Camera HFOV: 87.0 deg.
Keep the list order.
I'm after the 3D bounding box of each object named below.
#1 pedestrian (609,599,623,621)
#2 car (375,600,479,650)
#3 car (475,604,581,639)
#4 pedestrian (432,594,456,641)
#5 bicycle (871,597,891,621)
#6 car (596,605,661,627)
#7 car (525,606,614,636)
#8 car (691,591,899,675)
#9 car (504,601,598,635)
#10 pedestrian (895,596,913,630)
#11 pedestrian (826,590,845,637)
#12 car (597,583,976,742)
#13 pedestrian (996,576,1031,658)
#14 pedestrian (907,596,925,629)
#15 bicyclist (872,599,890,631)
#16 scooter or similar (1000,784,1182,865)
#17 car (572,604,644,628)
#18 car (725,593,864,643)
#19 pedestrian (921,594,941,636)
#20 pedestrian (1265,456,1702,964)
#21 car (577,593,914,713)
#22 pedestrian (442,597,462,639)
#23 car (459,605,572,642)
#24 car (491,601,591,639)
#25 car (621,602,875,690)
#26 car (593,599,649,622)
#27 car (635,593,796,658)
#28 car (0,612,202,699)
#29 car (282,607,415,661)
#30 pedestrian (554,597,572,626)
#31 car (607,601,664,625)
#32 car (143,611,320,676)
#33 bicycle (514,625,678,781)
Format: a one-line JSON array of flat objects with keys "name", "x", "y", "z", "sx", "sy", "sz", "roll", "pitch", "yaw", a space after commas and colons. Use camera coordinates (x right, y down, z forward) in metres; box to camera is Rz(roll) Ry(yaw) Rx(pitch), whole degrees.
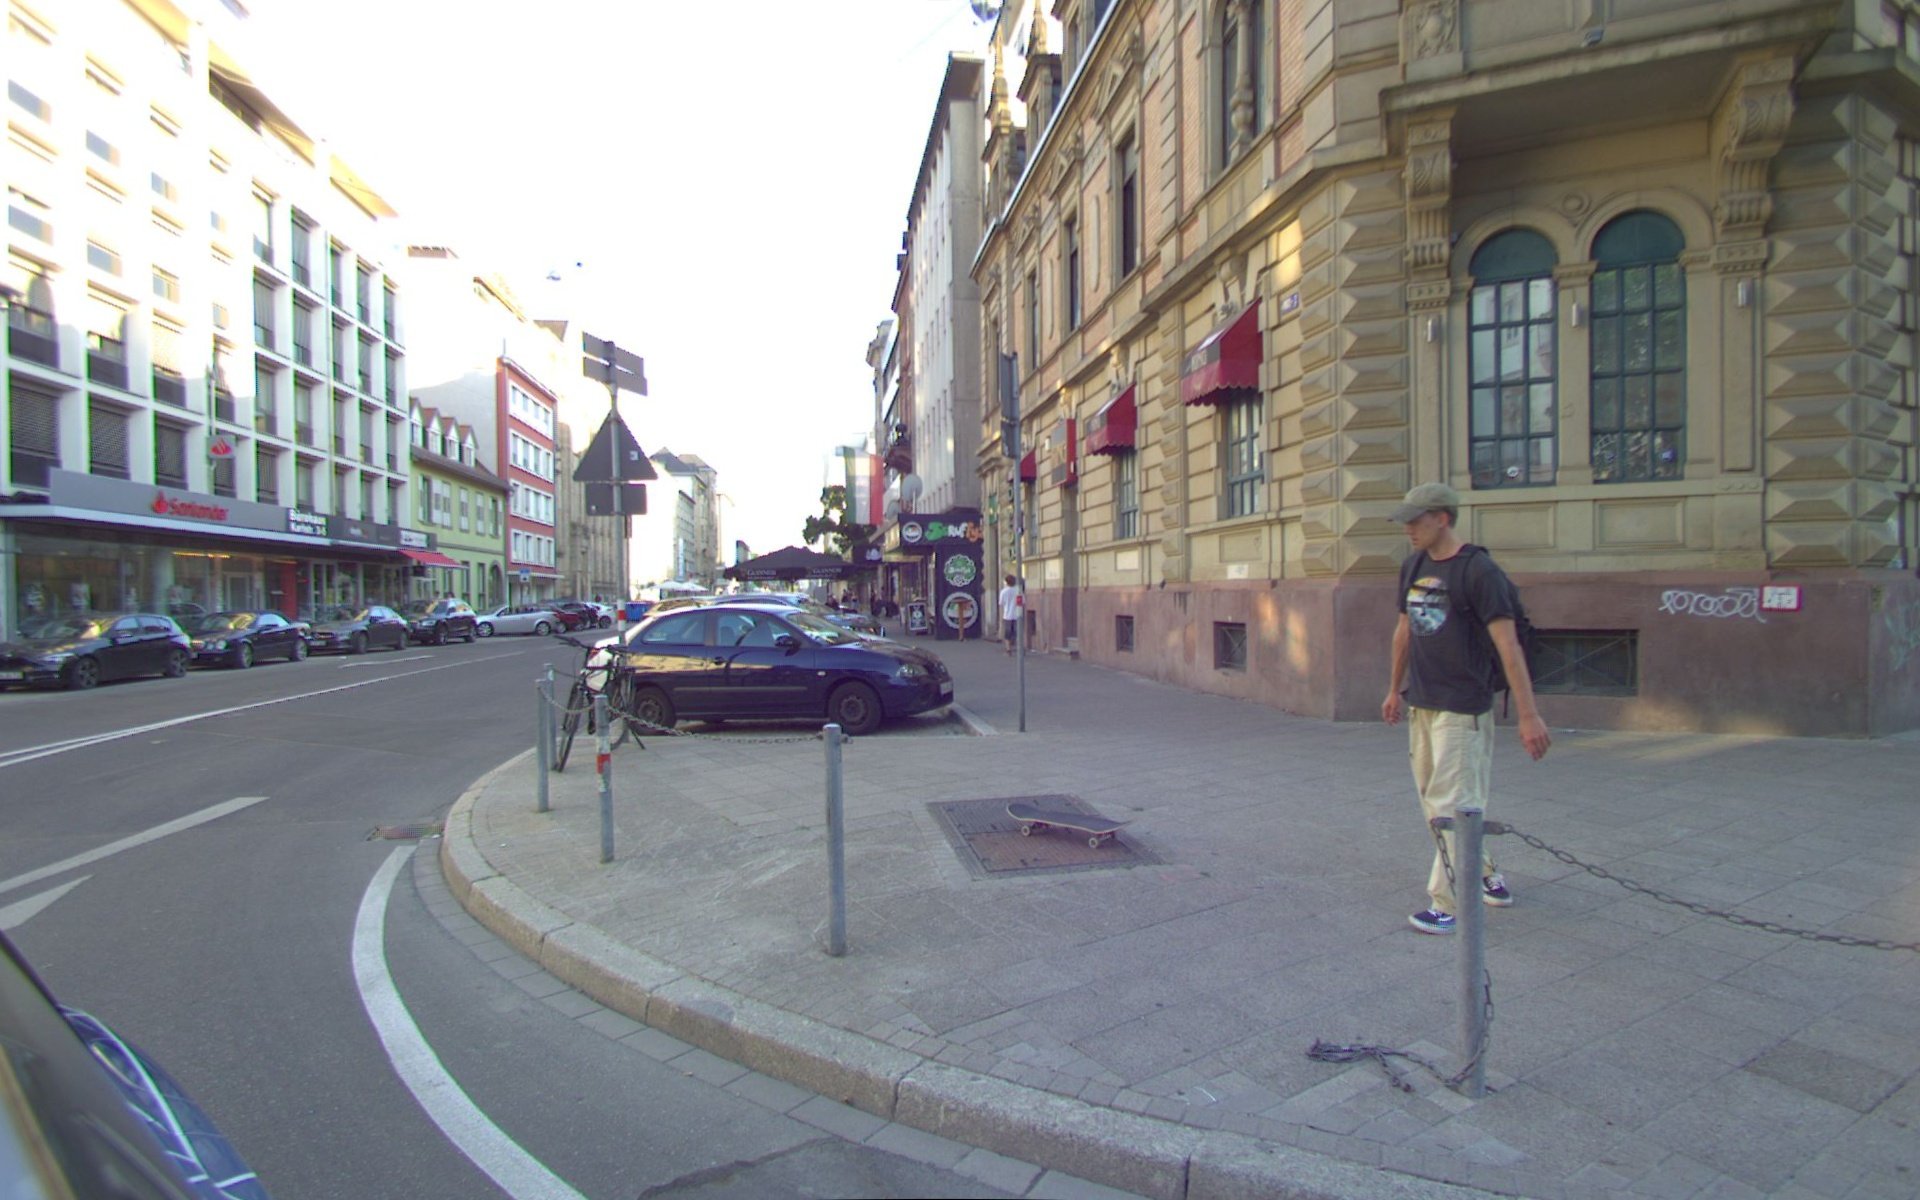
[{"name": "pedestrian", "x": -28.157, "y": 0.831, "z": 82.910, "sx": 0.838, "sy": 1.813, "sz": 1.013, "roll": -1, "pitch": 0, "yaw": -3}, {"name": "car", "x": -19.034, "y": 0.845, "z": 36.363, "sx": 1.805, "sy": 1.671, "sz": 4.369, "roll": -1, "pitch": 0, "yaw": -6}, {"name": "car", "x": -19.983, "y": 0.973, "z": 46.854, "sx": 4.163, "sy": 1.450, "sz": 1.756, "roll": -1, "pitch": 0, "yaw": -42}, {"name": "pedestrian", "x": -23.312, "y": 0.789, "z": 45.723, "sx": 0.751, "sy": 2.083, "sz": 0.720, "roll": -1, "pitch": 0, "yaw": -9}, {"name": "bicycle", "x": -3.913, "y": 0.423, "z": 50.006, "sx": 0.755, "sy": 1.123, "sz": 2.182, "roll": -2, "pitch": 1, "yaw": -9}, {"name": "car", "x": -24.126, "y": 1.140, "z": 73.725, "sx": 4.157, "sy": 1.484, "sz": 1.759, "roll": -1, "pitch": 0, "yaw": -33}, {"name": "car", "x": -21.148, "y": 1.102, "z": 54.885, "sx": 4.160, "sy": 1.484, "sz": 1.758, "roll": -1, "pitch": 0, "yaw": -38}, {"name": "car", "x": -3.472, "y": 0.675, "z": 21.444, "sx": 4.017, "sy": 1.669, "sz": 1.782, "roll": -1, "pitch": -1, "yaw": 18}, {"name": "car", "x": -21.015, "y": 0.917, "z": 52.026, "sx": 4.160, "sy": 1.629, "sz": 1.758, "roll": -1, "pitch": 0, "yaw": -38}, {"name": "pedestrian", "x": -2.042, "y": 0.477, "z": 37.077, "sx": 0.567, "sy": 1.254, "sz": 0.676, "roll": -1, "pitch": 0, "yaw": -8}, {"name": "pedestrian", "x": -3.873, "y": 0.407, "z": 31.443, "sx": 0.567, "sy": 1.427, "sz": 0.676, "roll": -1, "pitch": 0, "yaw": -8}, {"name": "car", "x": -1.914, "y": 0.690, "z": 11.506, "sx": 3.828, "sy": 1.472, "sz": 1.732, "roll": -4, "pitch": -1, "yaw": 16}, {"name": "pedestrian", "x": 1.077, "y": 0.335, "z": 20.425, "sx": 0.569, "sy": 1.621, "sz": 0.522, "roll": -2, "pitch": 0, "yaw": -7}, {"name": "pedestrian", "x": -1.679, "y": 0.470, "z": 38.628, "sx": 0.567, "sy": 1.254, "sz": 0.676, "roll": -1, "pitch": 0, "yaw": -8}, {"name": "bicyclist", "x": -3.901, "y": 0.732, "z": 49.978, "sx": 0.756, "sy": 1.571, "sz": 0.814, "roll": -2, "pitch": 0, "yaw": -9}, {"name": "scooter or similar", "x": 0.669, "y": 1.154, "z": 5.284, "sx": 0.412, "sy": 0.208, "sz": 0.883, "roll": -3, "pitch": 1, "yaw": -44}, {"name": "car", "x": -23.147, "y": 1.052, "z": 66.649, "sx": 4.160, "sy": 1.484, "sz": 1.758, "roll": -1, "pitch": 0, "yaw": -38}, {"name": "car", "x": -6.136, "y": 0.673, "z": 37.583, "sx": 4.804, "sy": 1.746, "sz": 1.896, "roll": -1, "pitch": 0, "yaw": 20}, {"name": "pedestrian", "x": -0.921, "y": 0.475, "z": 32.537, "sx": 0.565, "sy": 1.318, "sz": 0.577, "roll": -1, "pitch": 0, "yaw": -7}, {"name": "pedestrian", "x": 2.023, "y": 0.365, "z": 4.038, "sx": 1.246, "sy": 1.752, "sz": 0.852, "roll": -2, "pitch": 2, "yaw": -9}, {"name": "car", "x": -3.155, "y": 0.778, "z": 14.876, "sx": 4.594, "sy": 1.523, "sz": 1.757, "roll": -3, "pitch": 0, "yaw": 20}, {"name": "pedestrian", "x": -23.034, "y": 0.809, "z": 45.878, "sx": 0.603, "sy": 1.901, "sz": 0.720, "roll": -1, "pitch": 0, "yaw": -9}, {"name": "car", "x": -19.303, "y": 0.990, "z": 44.093, "sx": 1.754, "sy": 1.450, "sz": 4.169, "roll": -1, "pitch": 0, "yaw": 43}, {"name": "car", "x": -20.474, "y": 0.941, "z": 49.484, "sx": 4.163, "sy": 1.689, "sz": 1.756, "roll": -1, "pitch": 0, "yaw": -42}, {"name": "car", "x": -3.804, "y": 0.784, "z": 18.262, "sx": 4.216, "sy": 1.458, "sz": 1.701, "roll": -1, "pitch": -1, "yaw": 18}, {"name": "car", "x": -28.762, "y": 0.882, "z": 85.836, "sx": 4.157, "sy": 1.896, "sz": 1.759, "roll": -1, "pitch": 0, "yaw": -33}, {"name": "car", "x": -6.915, "y": 0.710, "z": 28.729, "sx": 4.012, "sy": 1.641, "sz": 1.845, "roll": -3, "pitch": 0, "yaw": 14}, {"name": "car", "x": -17.057, "y": 0.999, "z": 19.786, "sx": 1.720, "sy": 1.458, "sz": 4.257, "roll": -1, "pitch": 0, "yaw": -8}, {"name": "car", "x": -18.496, "y": 0.974, "z": 30.858, "sx": 1.721, "sy": 1.457, "sz": 4.566, "roll": -1, "pitch": 0, "yaw": -7}, {"name": "pedestrian", "x": -27.239, "y": 0.814, "z": 69.455, "sx": 0.838, "sy": 1.958, "sz": 1.013, "roll": -1, "pitch": 0, "yaw": -3}, {"name": "car", "x": -24.586, "y": 0.974, "z": 76.738, "sx": 3.772, "sy": 1.766, "sz": 1.759, "roll": -1, "pitch": 0, "yaw": -33}, {"name": "car", "x": -17.908, "y": 0.999, "z": 25.151, "sx": 1.720, "sy": 1.398, "sz": 4.510, "roll": -1, "pitch": 0, "yaw": -9}, {"name": "bicycle", "x": -3.130, "y": 0.835, "z": 8.909, "sx": 0.718, "sy": 1.134, "sz": 1.803, "roll": -4, "pitch": 0, "yaw": 0}]
